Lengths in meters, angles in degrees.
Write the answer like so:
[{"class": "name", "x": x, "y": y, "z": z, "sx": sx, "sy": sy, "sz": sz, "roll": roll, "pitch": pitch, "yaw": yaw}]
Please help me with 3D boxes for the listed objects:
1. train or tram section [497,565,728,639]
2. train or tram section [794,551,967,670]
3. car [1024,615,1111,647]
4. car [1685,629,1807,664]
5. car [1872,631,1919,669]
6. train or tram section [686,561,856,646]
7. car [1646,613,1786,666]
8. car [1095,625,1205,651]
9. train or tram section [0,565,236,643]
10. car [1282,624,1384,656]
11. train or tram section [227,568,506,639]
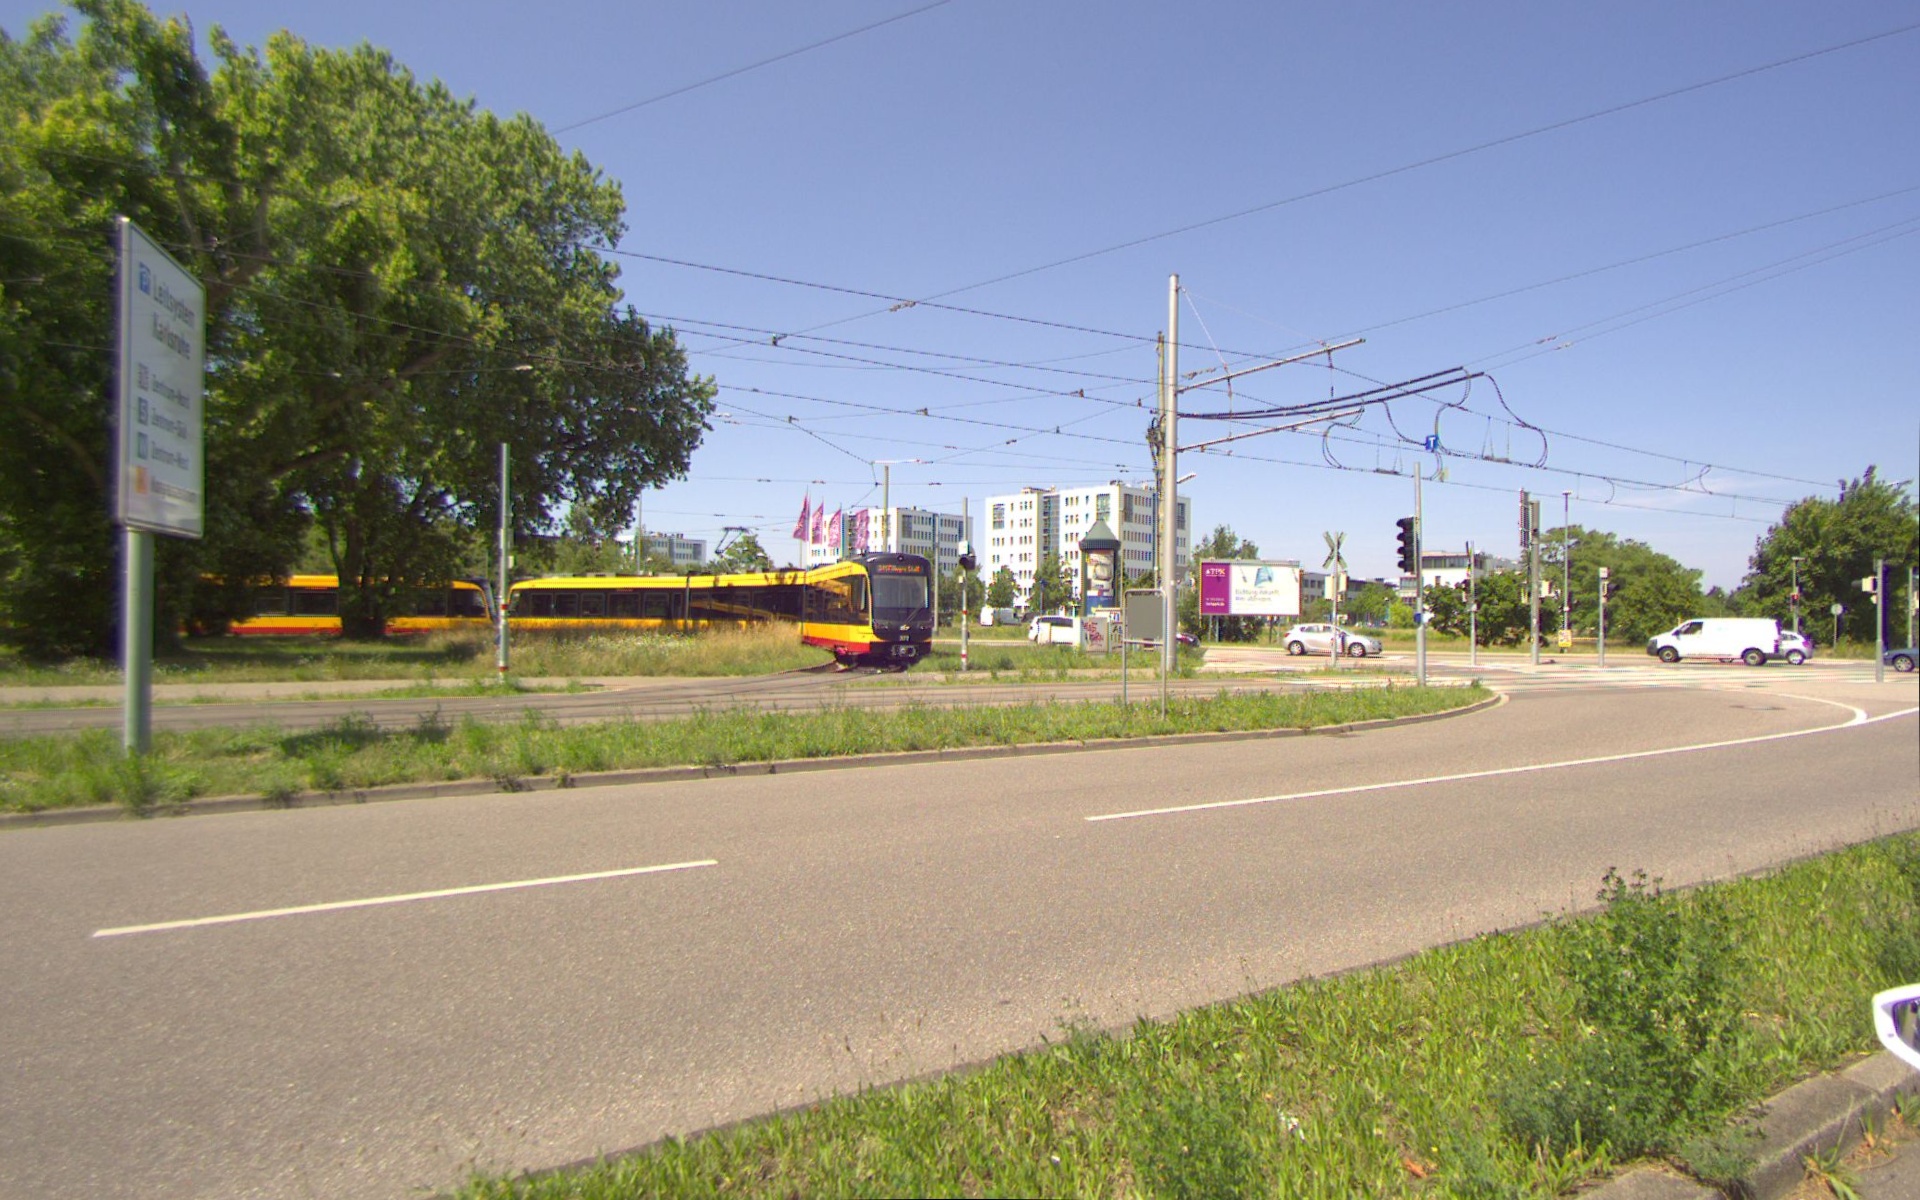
[{"class": "train or tram section", "x": -18.479, "y": 0.029, "z": 53.116, "sx": 12.500, "sy": 3.512, "sz": 3.046, "roll": 1, "pitch": 1, "yaw": 21}, {"class": "train or tram section", "x": -3.375, "y": 0.256, "z": 36.342, "sx": 2.999, "sy": 3.512, "sz": 13.233, "roll": 1, "pitch": 0, "yaw": -19}, {"class": "car", "x": 6.014, "y": 1.701, "z": 56.485, "sx": 4.457, "sy": 1.660, "sz": 1.997, "roll": 0, "pitch": 0, "yaw": 29}, {"class": "car", "x": 36.217, "y": 2.108, "z": 46.377, "sx": 4.362, "sy": 1.390, "sz": 1.890, "roll": 0, "pitch": 0, "yaw": 40}, {"class": "car", "x": 37.000, "y": 1.906, "z": 37.224, "sx": 1.869, "sy": 1.390, "sz": 4.412, "roll": 0, "pitch": 0, "yaw": -18}, {"class": "train or tram section", "x": -9.003, "y": 0.061, "z": 46.638, "sx": 3.023, "sy": 3.512, "sz": 10.099, "roll": 1, "pitch": 1, "yaw": -41}, {"class": "car", "x": 33.021, "y": 1.683, "z": 43.971, "sx": 4.683, "sy": 2.139, "sz": 1.987, "roll": 0, "pitch": 0, "yaw": 45}, {"class": "car", "x": 9.412, "y": 1.857, "z": 49.757, "sx": 5.135, "sy": 1.147, "sz": 1.899, "roll": 0, "pitch": 0, "yaw": 19}, {"class": "train or tram section", "x": -41.750, "y": 0.207, "z": 49.059, "sx": 10.149, "sy": 3.512, "sz": 3.008, "roll": 1, "pitch": 1, "yaw": -43}, {"class": "car", "x": 17.188, "y": 1.830, "z": 46.323, "sx": 4.203, "sy": 1.311, "sz": 1.997, "roll": 0, "pitch": 0, "yaw": 29}, {"class": "train or tram section", "x": -31.577, "y": 0.222, "z": 54.222, "sx": 12.545, "sy": 3.512, "sz": 3.035, "roll": 1, "pitch": 1, "yaw": -17}]
